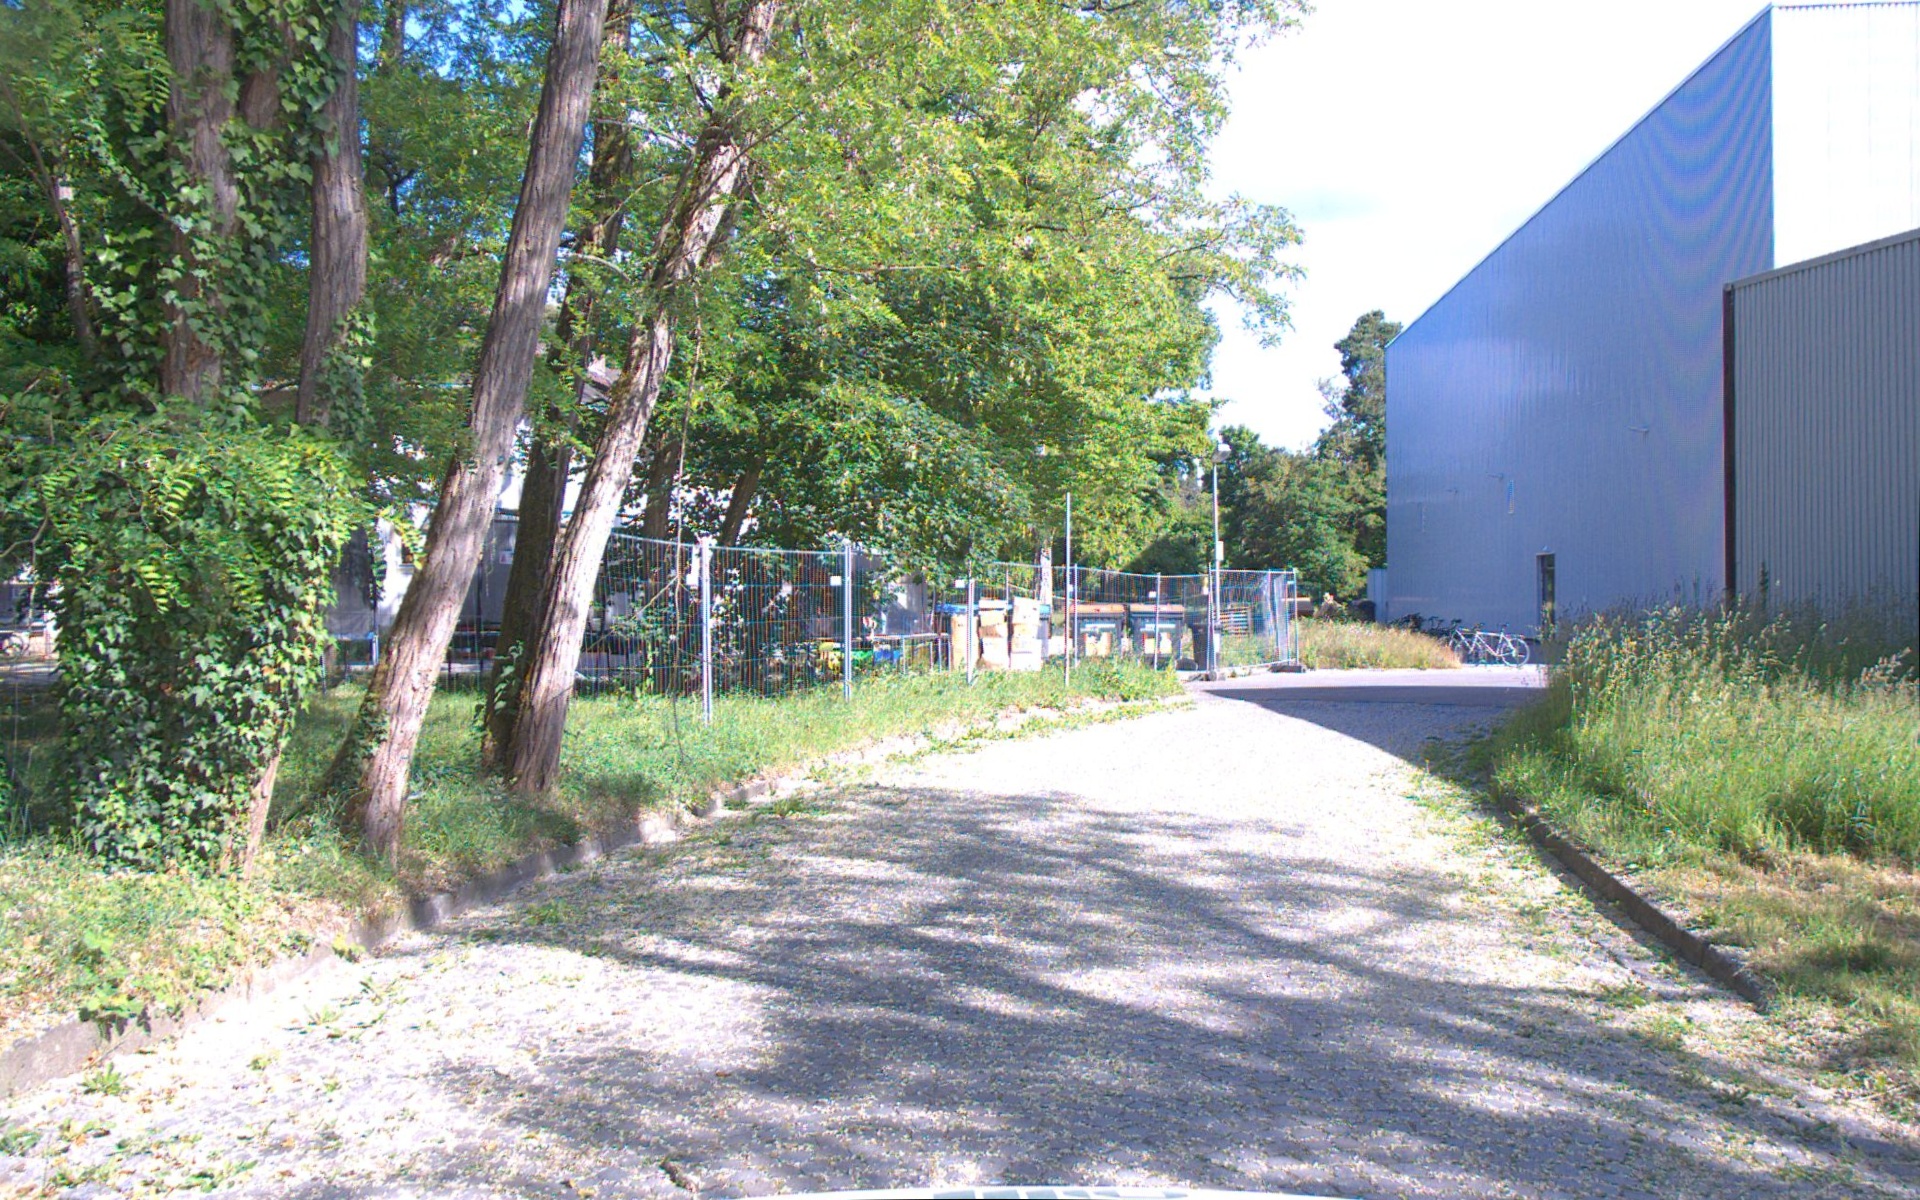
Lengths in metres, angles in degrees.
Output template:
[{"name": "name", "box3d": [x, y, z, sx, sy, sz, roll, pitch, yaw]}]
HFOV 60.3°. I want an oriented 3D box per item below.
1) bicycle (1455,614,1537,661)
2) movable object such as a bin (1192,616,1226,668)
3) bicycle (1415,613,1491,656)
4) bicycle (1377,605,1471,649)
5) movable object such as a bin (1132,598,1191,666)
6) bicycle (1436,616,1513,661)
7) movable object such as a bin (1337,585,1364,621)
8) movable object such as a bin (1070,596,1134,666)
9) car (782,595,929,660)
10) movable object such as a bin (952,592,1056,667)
[{"name": "bicycle", "box3d": [12.521, 0.873, 38.686, 1.763, 1.080, 0.459, 0, 0, -1]}, {"name": "movable object such as a bin", "box3d": [5.468, 0.916, 36.328, 0.720, 1.117, 0.820, 0, 0, 8]}, {"name": "bicycle", "box3d": [13.049, 0.904, 43.787, 1.848, 1.114, 0.526, -1, -1, 3]}, {"name": "bicycle", "box3d": [13.820, 0.805, 49.372, 2.574, 1.288, 1.142, 0, 0, 9]}, {"name": "movable object such as a bin", "box3d": [4.447, 0.699, 36.545, 1.219, 1.470, 0.702, 0, 0, -1]}, {"name": "bicycle", "box3d": [12.822, 0.955, 41.242, 1.754, 1.101, 0.525, 0, 0, 6]}, {"name": "movable object such as a bin", "box3d": [22.370, 0.148, 94.802, 1.388, 2.049, 1.126, 0, 0, 9]}, {"name": "movable object such as a bin", "box3d": [3.137, 0.682, 36.609, 1.310, 1.510, 0.806, 0, 0, -2]}, {"name": "car", "box3d": [-3.377, 0.890, 54.101, 4.613, 1.935, 2.000, -2, -1, 0]}, {"name": "movable object such as a bin", "box3d": [0.958, 0.640, 36.467, 2.242, 1.619, 1.174, 0, 0, -1]}]
